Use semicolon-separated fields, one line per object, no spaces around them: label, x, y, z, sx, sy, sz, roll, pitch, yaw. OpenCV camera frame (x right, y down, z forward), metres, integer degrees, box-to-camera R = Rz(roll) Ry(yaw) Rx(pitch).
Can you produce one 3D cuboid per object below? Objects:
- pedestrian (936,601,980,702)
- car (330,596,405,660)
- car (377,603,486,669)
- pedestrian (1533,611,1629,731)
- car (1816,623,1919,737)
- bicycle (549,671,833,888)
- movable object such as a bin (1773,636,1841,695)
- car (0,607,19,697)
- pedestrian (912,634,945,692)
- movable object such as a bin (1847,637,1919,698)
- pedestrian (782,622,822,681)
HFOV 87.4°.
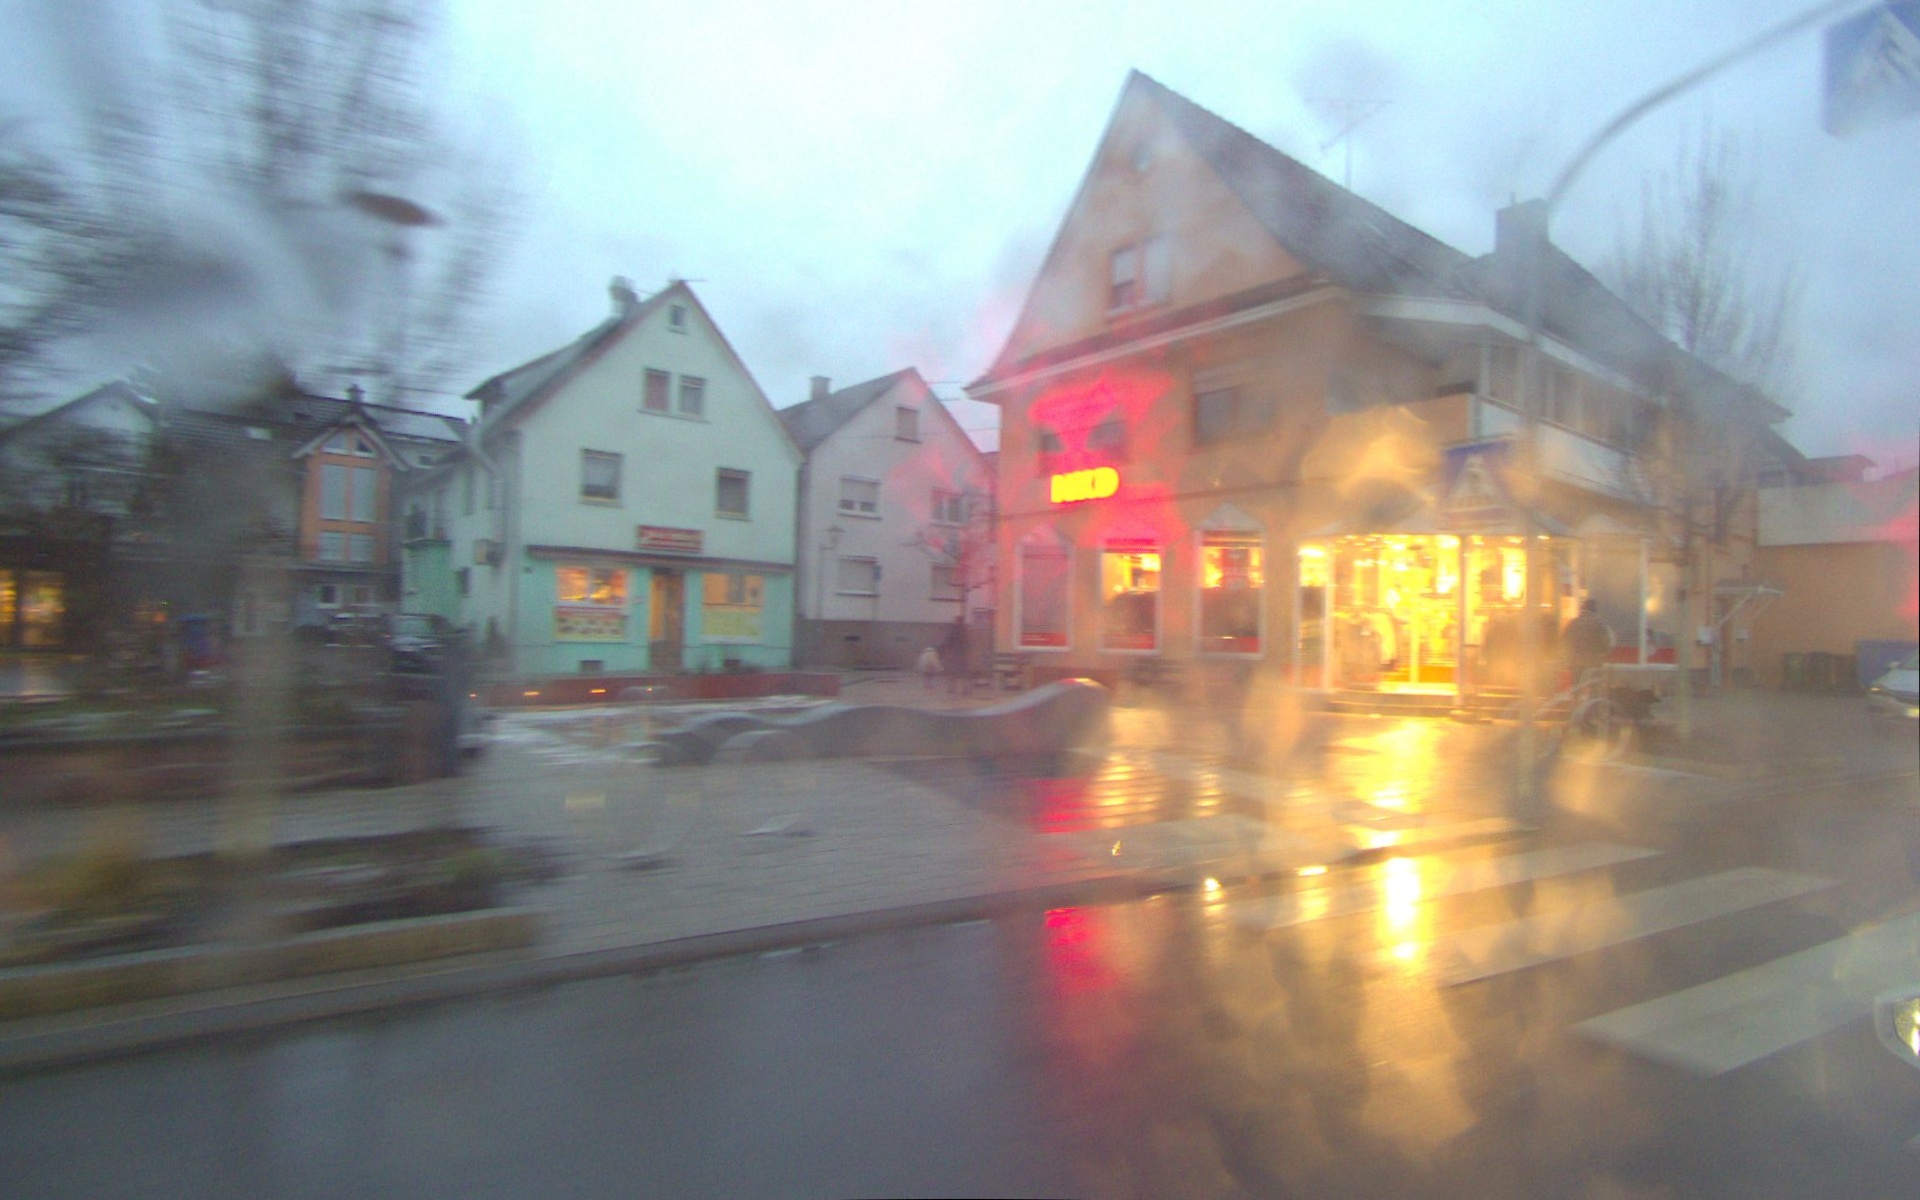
pedestrian;-0.044;1.060;20.918;0.723;2.040;0.824;2;0;-11
car;-18.726;0.849;31.716;1.556;1.882;3.275;2;-1;-39
car;-14.109;0.923;26.696;1.966;1.624;3.958;2;-2;-37
pedestrian;9.153;1.017;14.808;1.087;1.680;0.820;1;0;-37
car;15.499;1.197;15.528;4.565;1.579;1.984;2;0;-29
bicycle;-1.581;1.026;6.170;0.321;1.075;1.734;-6;-4;43
movable object such as a bin;20.798;1.586;24.674;0.844;1.372;1.140;1;-1;-39
car;-21.839;1.097;21.691;1.985;1.868;3.953;2;-3;-41
pedestrian;-0.715;1.425;22.847;0.674;1.262;0.825;2;0;-5
movable object such as a bin;21.705;1.581;23.439;0.881;1.371;1.330;2;-4;-38
pedestrian;-4.739;1.535;30.092;0.834;1.738;0.908;2;-3;-43
